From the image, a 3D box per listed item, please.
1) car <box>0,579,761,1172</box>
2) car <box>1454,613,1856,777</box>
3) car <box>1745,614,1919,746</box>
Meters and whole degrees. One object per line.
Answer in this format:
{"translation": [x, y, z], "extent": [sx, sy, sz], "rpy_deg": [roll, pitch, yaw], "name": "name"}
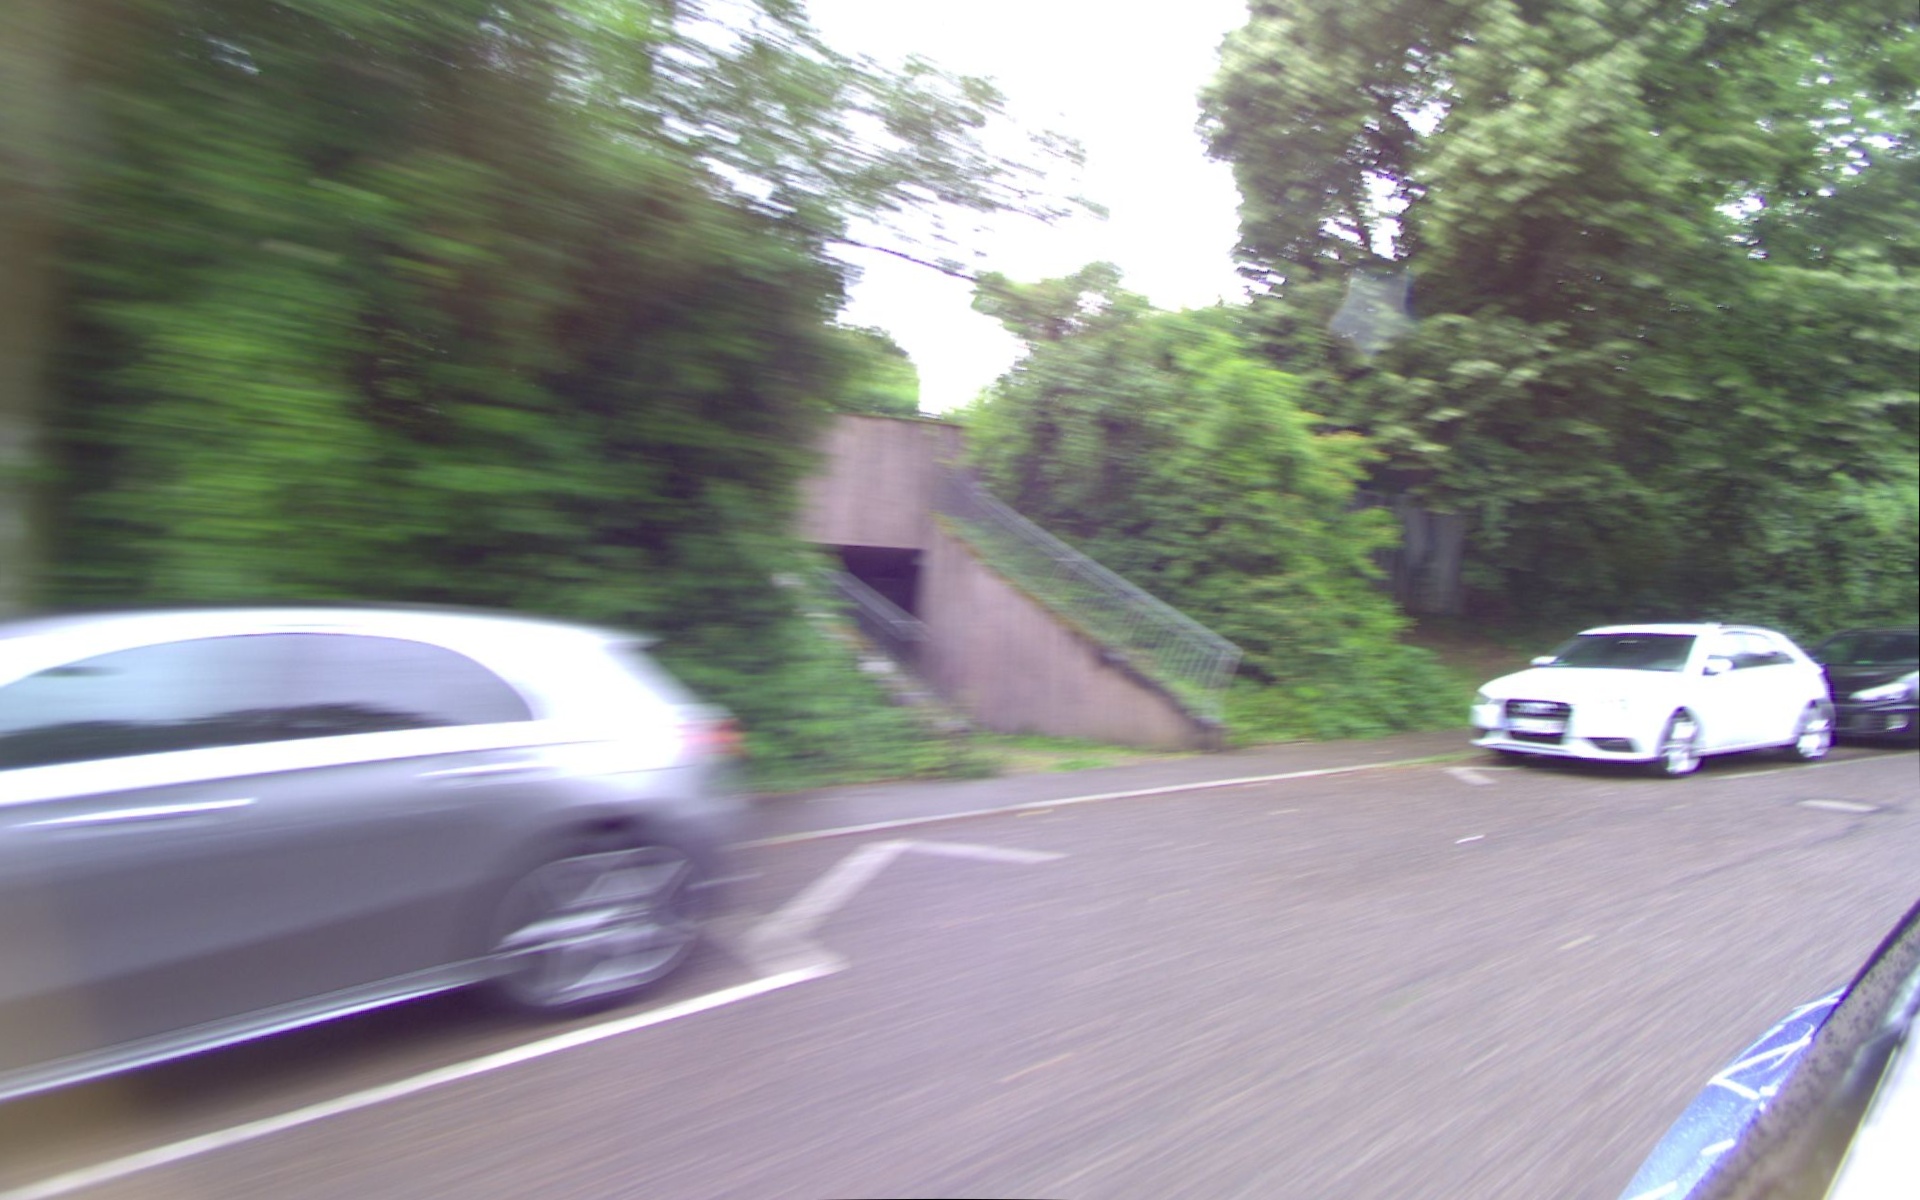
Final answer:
{"translation": [-2.850, 0.674, 3.220], "extent": [4.055, 1.462, 1.722], "rpy_deg": [1, -1, -43], "name": "car"}
{"translation": [7.241, 0.876, 10.510], "extent": [4.012, 1.419, 1.762], "rpy_deg": [1, -2, -28], "name": "car"}
{"translation": [11.965, 0.939, 12.662], "extent": [3.885, 1.443, 1.668], "rpy_deg": [1, -3, -23], "name": "car"}
